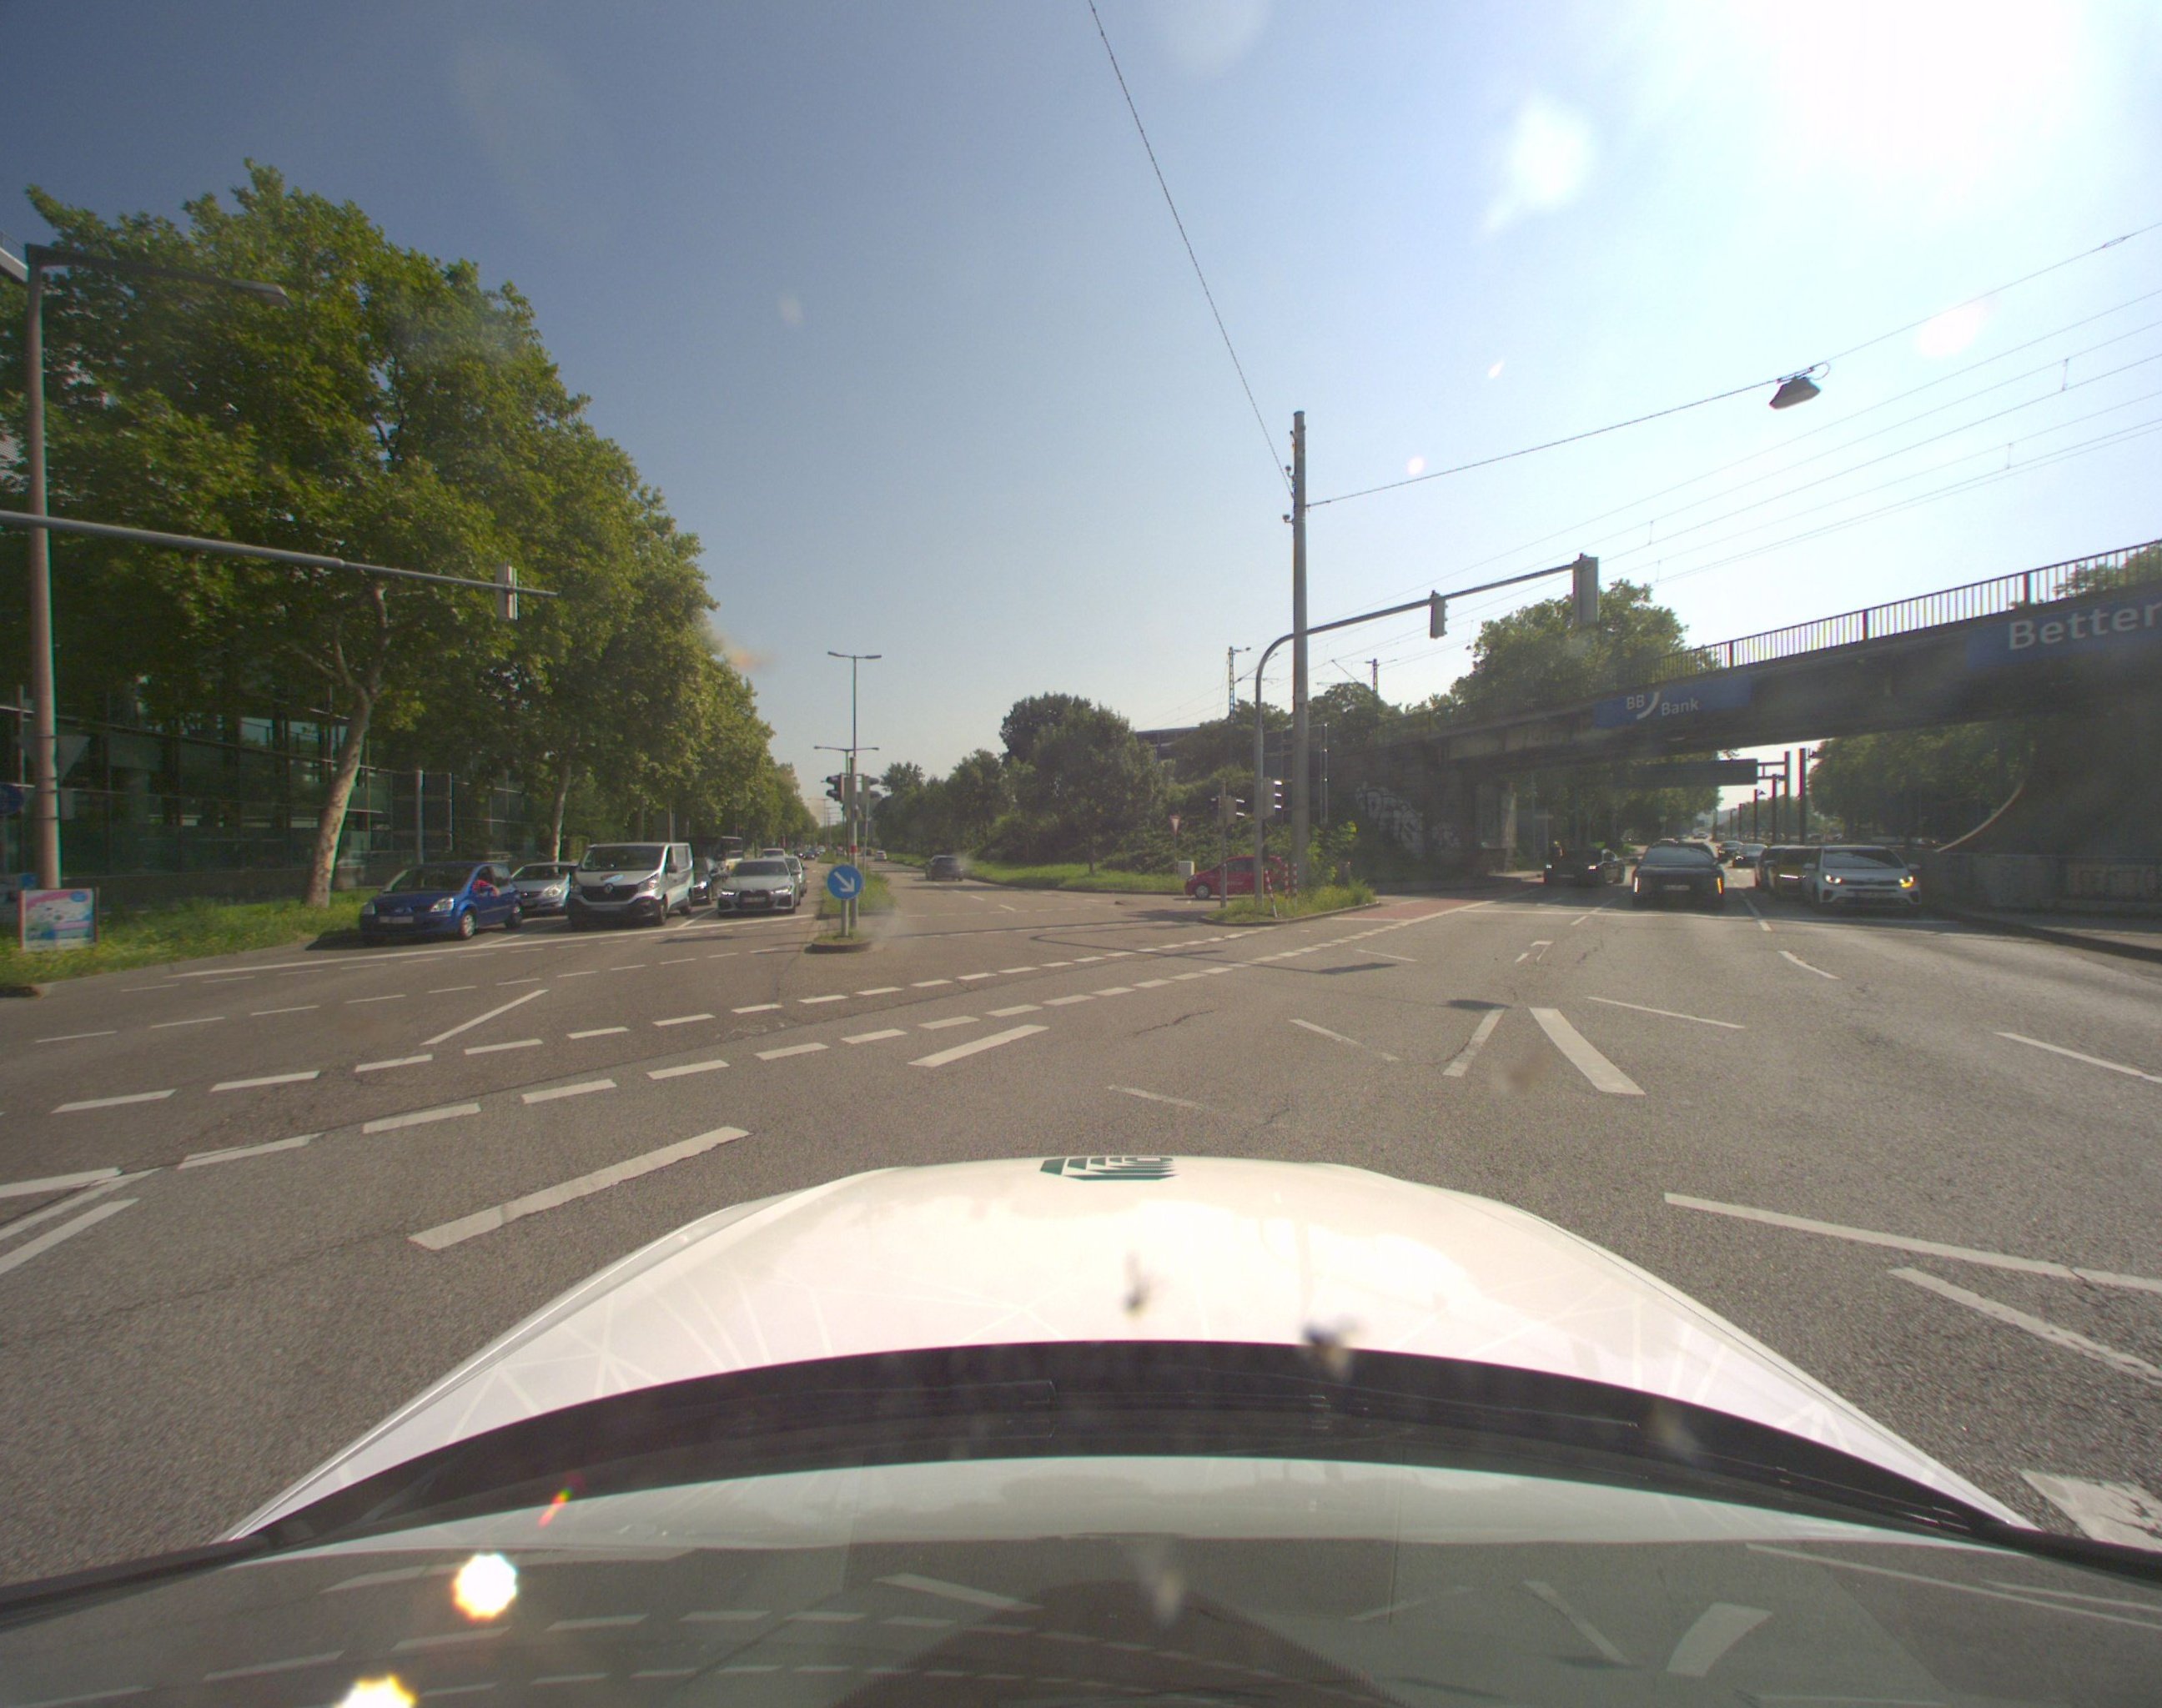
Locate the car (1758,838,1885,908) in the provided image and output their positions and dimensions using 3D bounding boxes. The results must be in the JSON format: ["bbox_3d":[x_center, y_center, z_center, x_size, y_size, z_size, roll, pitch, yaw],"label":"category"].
[{"bbox_3d":[20.253,0.428,22.476,1.974,1.572,4.376,1,3,34],"label":"car"}]

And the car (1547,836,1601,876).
[{"bbox_3d":[24.950,0.044,41.169,1.974,1.848,4.026,3,3,36],"label":"car"}]

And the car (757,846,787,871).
[{"bbox_3d":[-26.640,0.351,70.128,1.937,1.960,5.146,-3,2,-26],"label":"car"}]

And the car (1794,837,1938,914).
[{"bbox_3d":[17.514,0.419,18.352,1.704,1.538,3.720,-1,0,34],"label":"car"}]

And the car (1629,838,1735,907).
[{"bbox_3d":[15.696,0.428,21.180,1.883,1.617,4.502,-2,-1,40],"label":"car"}]

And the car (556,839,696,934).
[{"bbox_3d":[-10.826,0.632,19.800,1.932,1.957,5.181,-1,1,-18],"label":"car"}]

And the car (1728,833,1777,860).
[{"bbox_3d":[39.586,-0.504,48.081,1.833,1.483,4.214,1,2,34],"label":"car"}]

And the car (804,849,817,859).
[{"bbox_3d":[-46.036,-0.002,138.572,1.850,1.489,4.618,-3,1,-16],"label":"car"}]

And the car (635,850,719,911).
[{"bbox_3d":[-13.924,0.854,28.348,1.721,1.848,4.677,-3,0,-16],"label":"car"}]

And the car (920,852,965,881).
[{"bbox_3d":[-7.953,0.692,46.429,1.787,1.427,3.973,1,2,-21],"label":"car"}]

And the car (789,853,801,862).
[{"bbox_3d":[-52.921,0.685,150.759,1.854,1.605,4.575,0,-1,-23],"label":"car"}]

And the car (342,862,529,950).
[{"bbox_3d":[-13.246,0.984,17.001,1.671,1.535,3.710,-3,0,-16],"label":"car"}]

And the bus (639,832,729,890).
[{"bbox_3d":[-21.626,0.349,45.005,2.668,2.694,10.842,-3,0,-17],"label":"bus"}]

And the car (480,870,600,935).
[{"bbox_3d":[-15.065,1.293,22.894,1.671,1.535,3.710,-3,0,-16],"label":"car"}]

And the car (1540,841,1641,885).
[{"bbox_3d":[20.144,0.329,32.130,4.913,1.463,1.976,-2,-1,-41],"label":"car"}]

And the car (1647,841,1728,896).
[{"bbox_3d":[19.995,0.399,26.998,1.974,1.521,4.376,1,3,34],"label":"car"}]

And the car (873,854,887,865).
[{"bbox_3d":[-32.059,0.885,129.878,1.999,1.654,3.977,-1,0,-17],"label":"car"}]

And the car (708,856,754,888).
[{"bbox_3d":[-18.490,0.907,43.144,1.671,1.535,3.710,-3,0,-16],"label":"car"}]

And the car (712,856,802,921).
[{"bbox_3d":[-8.531,0.815,21.786,1.840,1.443,4.578,-3,1,-18],"label":"car"}]

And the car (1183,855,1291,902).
[{"bbox_3d":[5.335,0.805,27.961,3.519,1.467,1.649,1,1,11],"label":"car"}]

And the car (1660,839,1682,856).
[{"bbox_3d":[70.605,-0.800,97.499,1.974,2.013,4.026,3,3,36],"label":"car"}]

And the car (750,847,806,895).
[{"bbox_3d":[-10.774,0.620,29.122,1.618,1.535,4.075,-3,-1,-18],"label":"car"}]

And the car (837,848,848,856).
[{"bbox_3d":[-50.537,-0.409,172.666,1.995,1.702,3.984,-1,0,-11],"label":"car"}]
